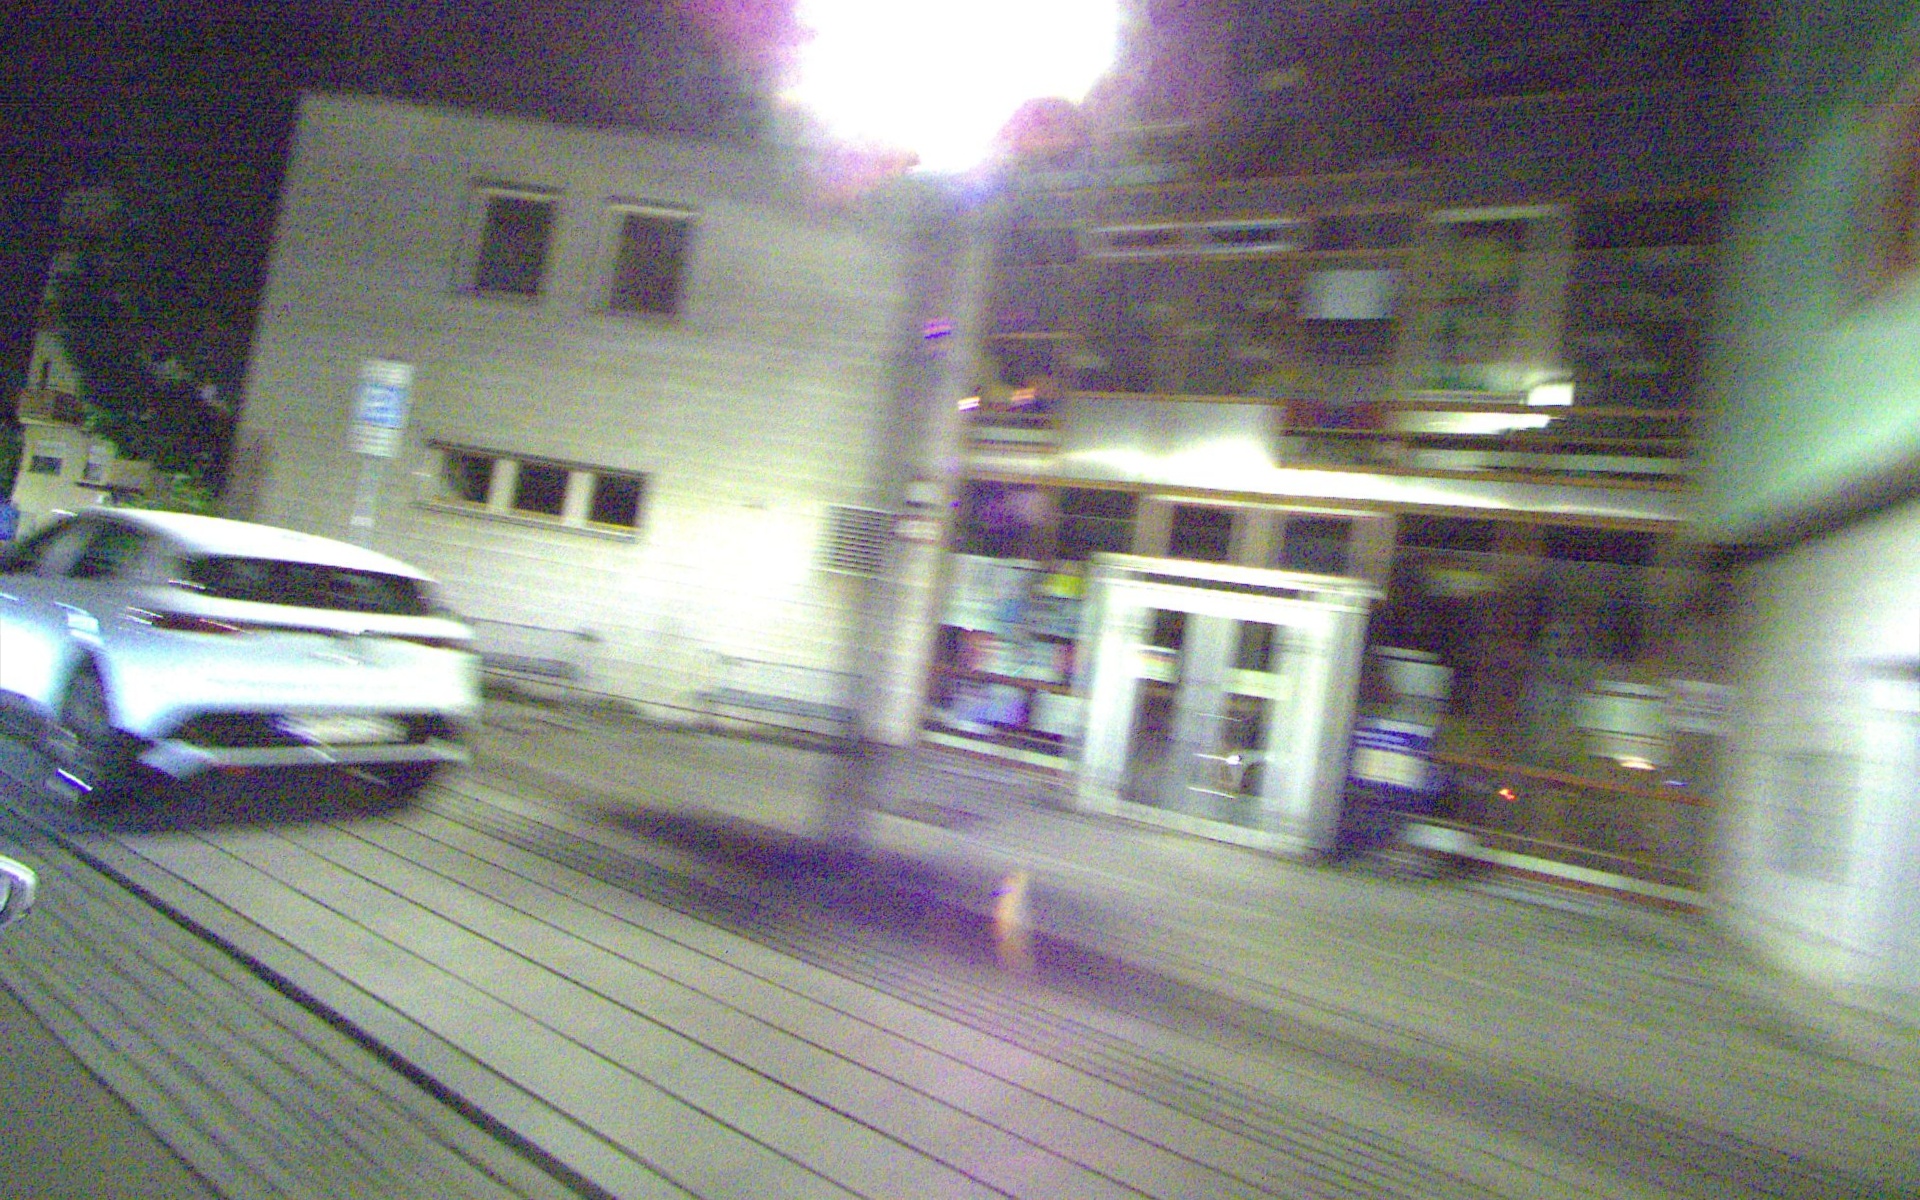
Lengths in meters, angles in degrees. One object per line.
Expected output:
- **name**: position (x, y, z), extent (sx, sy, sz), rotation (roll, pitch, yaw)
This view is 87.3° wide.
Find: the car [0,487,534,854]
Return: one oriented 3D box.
- **car**: position (-4.726, 0.244, 6.211), extent (3.993, 1.508, 1.792), rotation (7, -2, 33)
